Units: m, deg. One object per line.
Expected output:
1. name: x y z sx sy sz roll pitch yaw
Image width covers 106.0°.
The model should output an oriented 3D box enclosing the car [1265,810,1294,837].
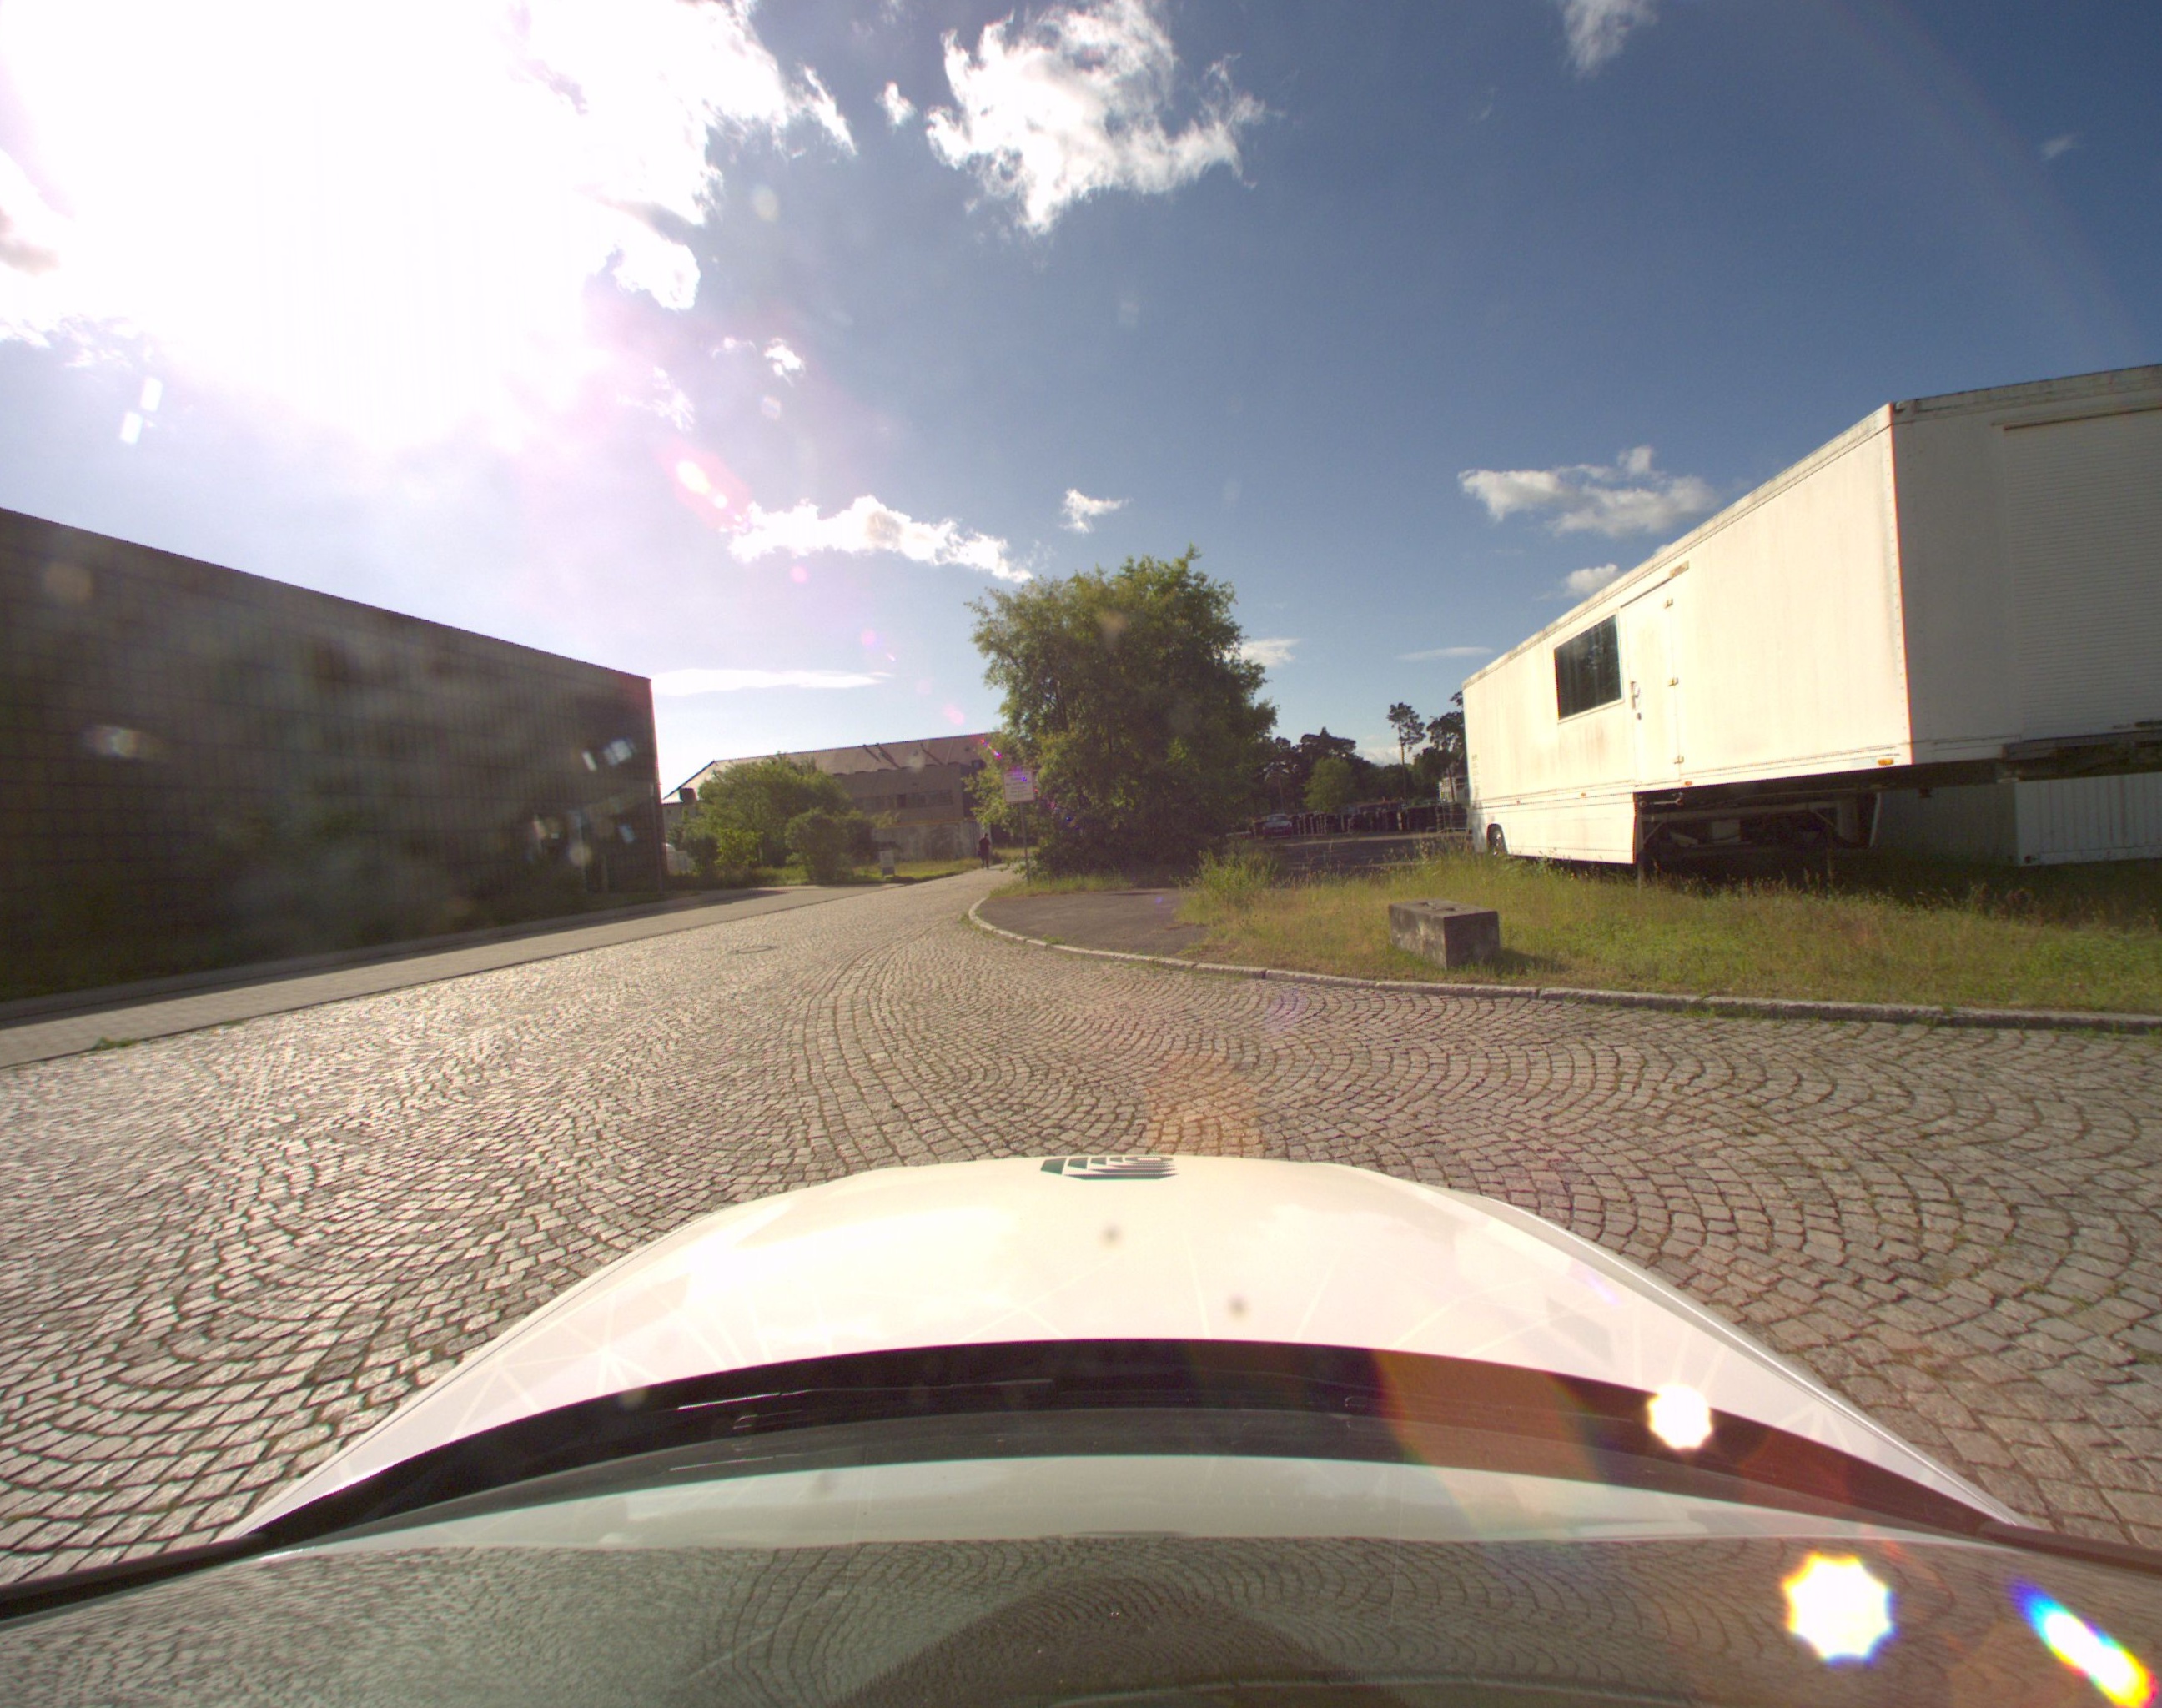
1. car: 11.784 -1.835 48.348 1.529 1.406 3.592 -4 2 14

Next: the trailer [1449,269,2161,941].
1. trailer: 7.630 -1.744 10.186 2.755 3.910 10.921 -4 2 11

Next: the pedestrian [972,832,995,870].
1. pedestrian: -4.849 -0.168 40.359 0.791 1.780 1.071 -3 2 7
